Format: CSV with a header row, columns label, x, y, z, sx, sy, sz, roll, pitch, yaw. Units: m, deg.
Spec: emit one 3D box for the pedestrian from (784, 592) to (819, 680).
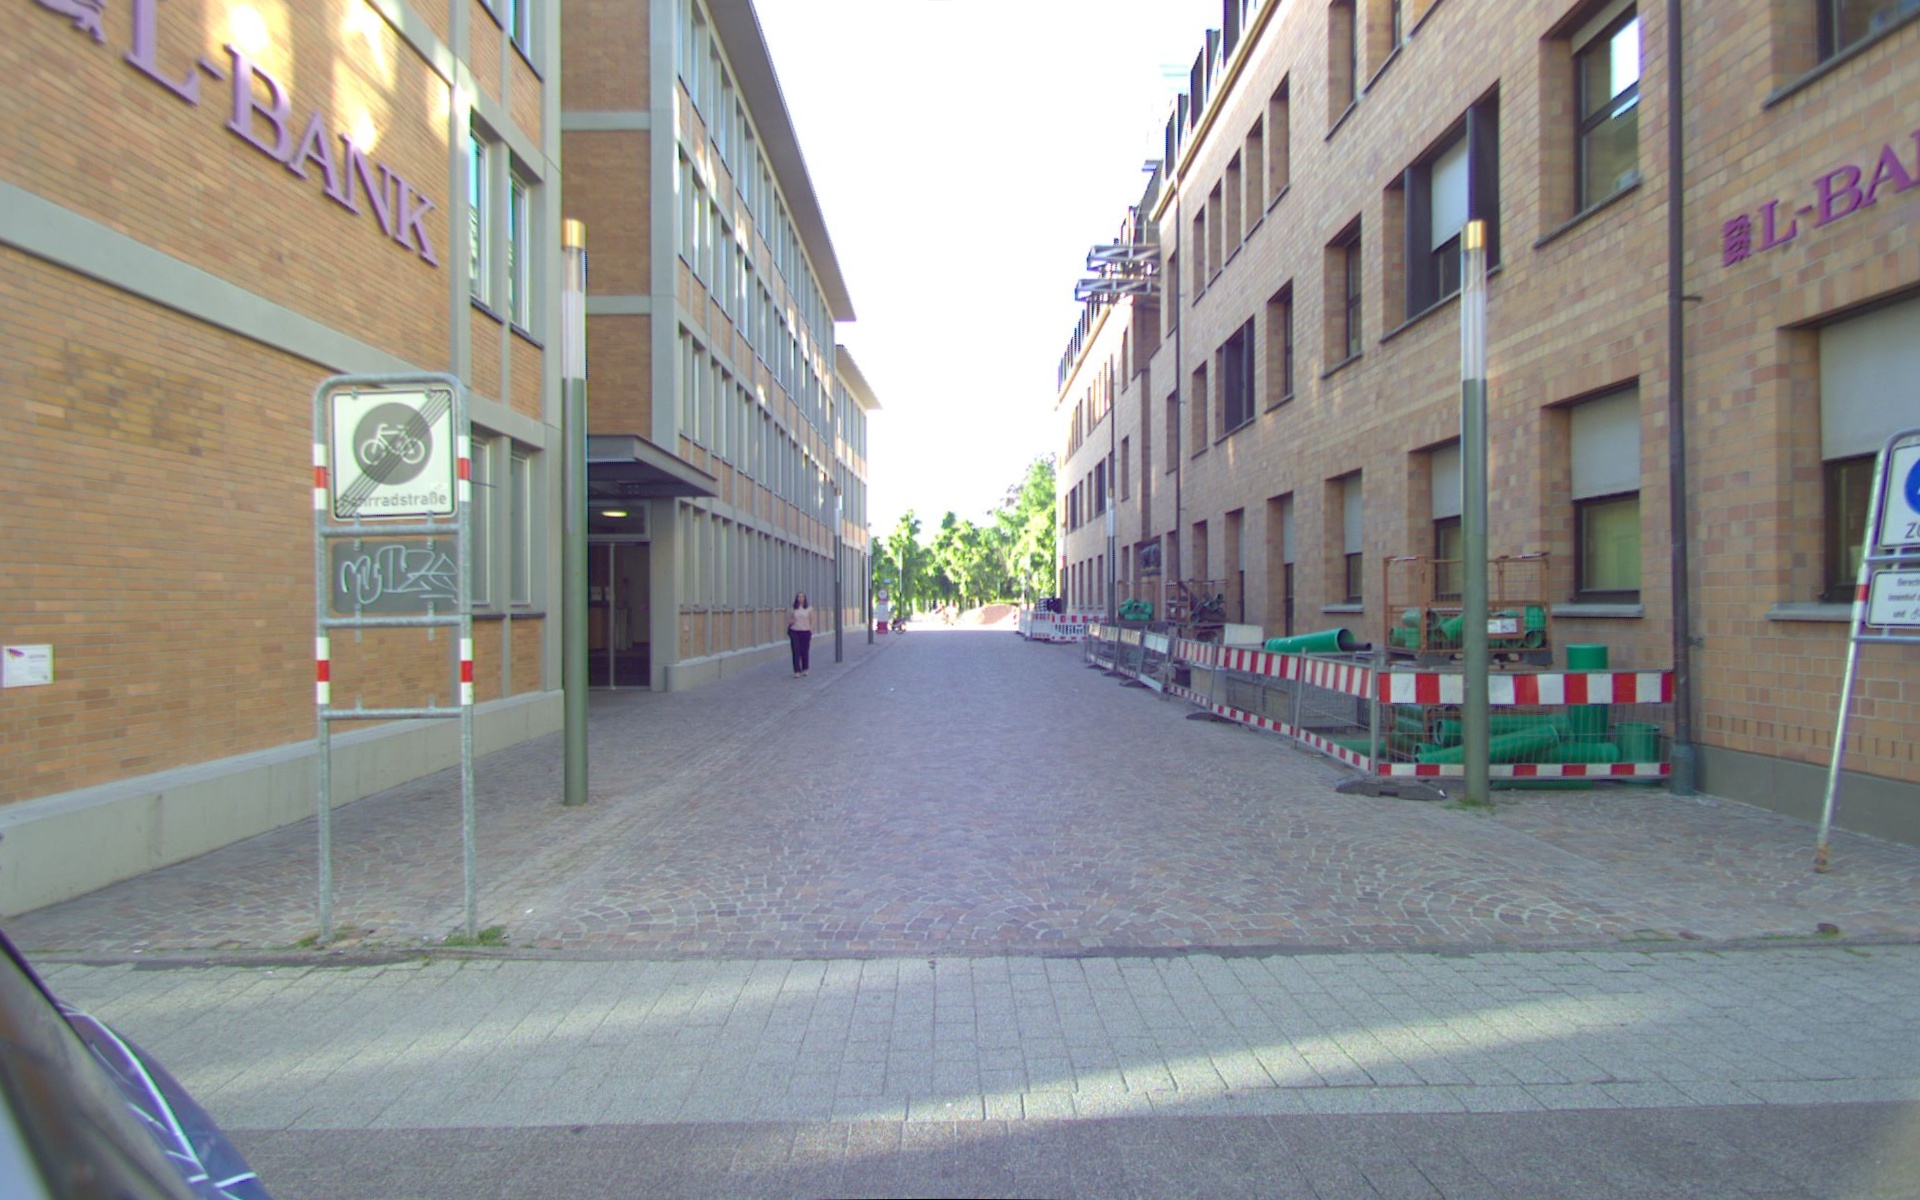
label,x,y,z,sx,sy,sz,roll,pitch,yaw
pedestrian,-3.282,0.752,20.983,0.630,1.799,0.652,0,-3,0
